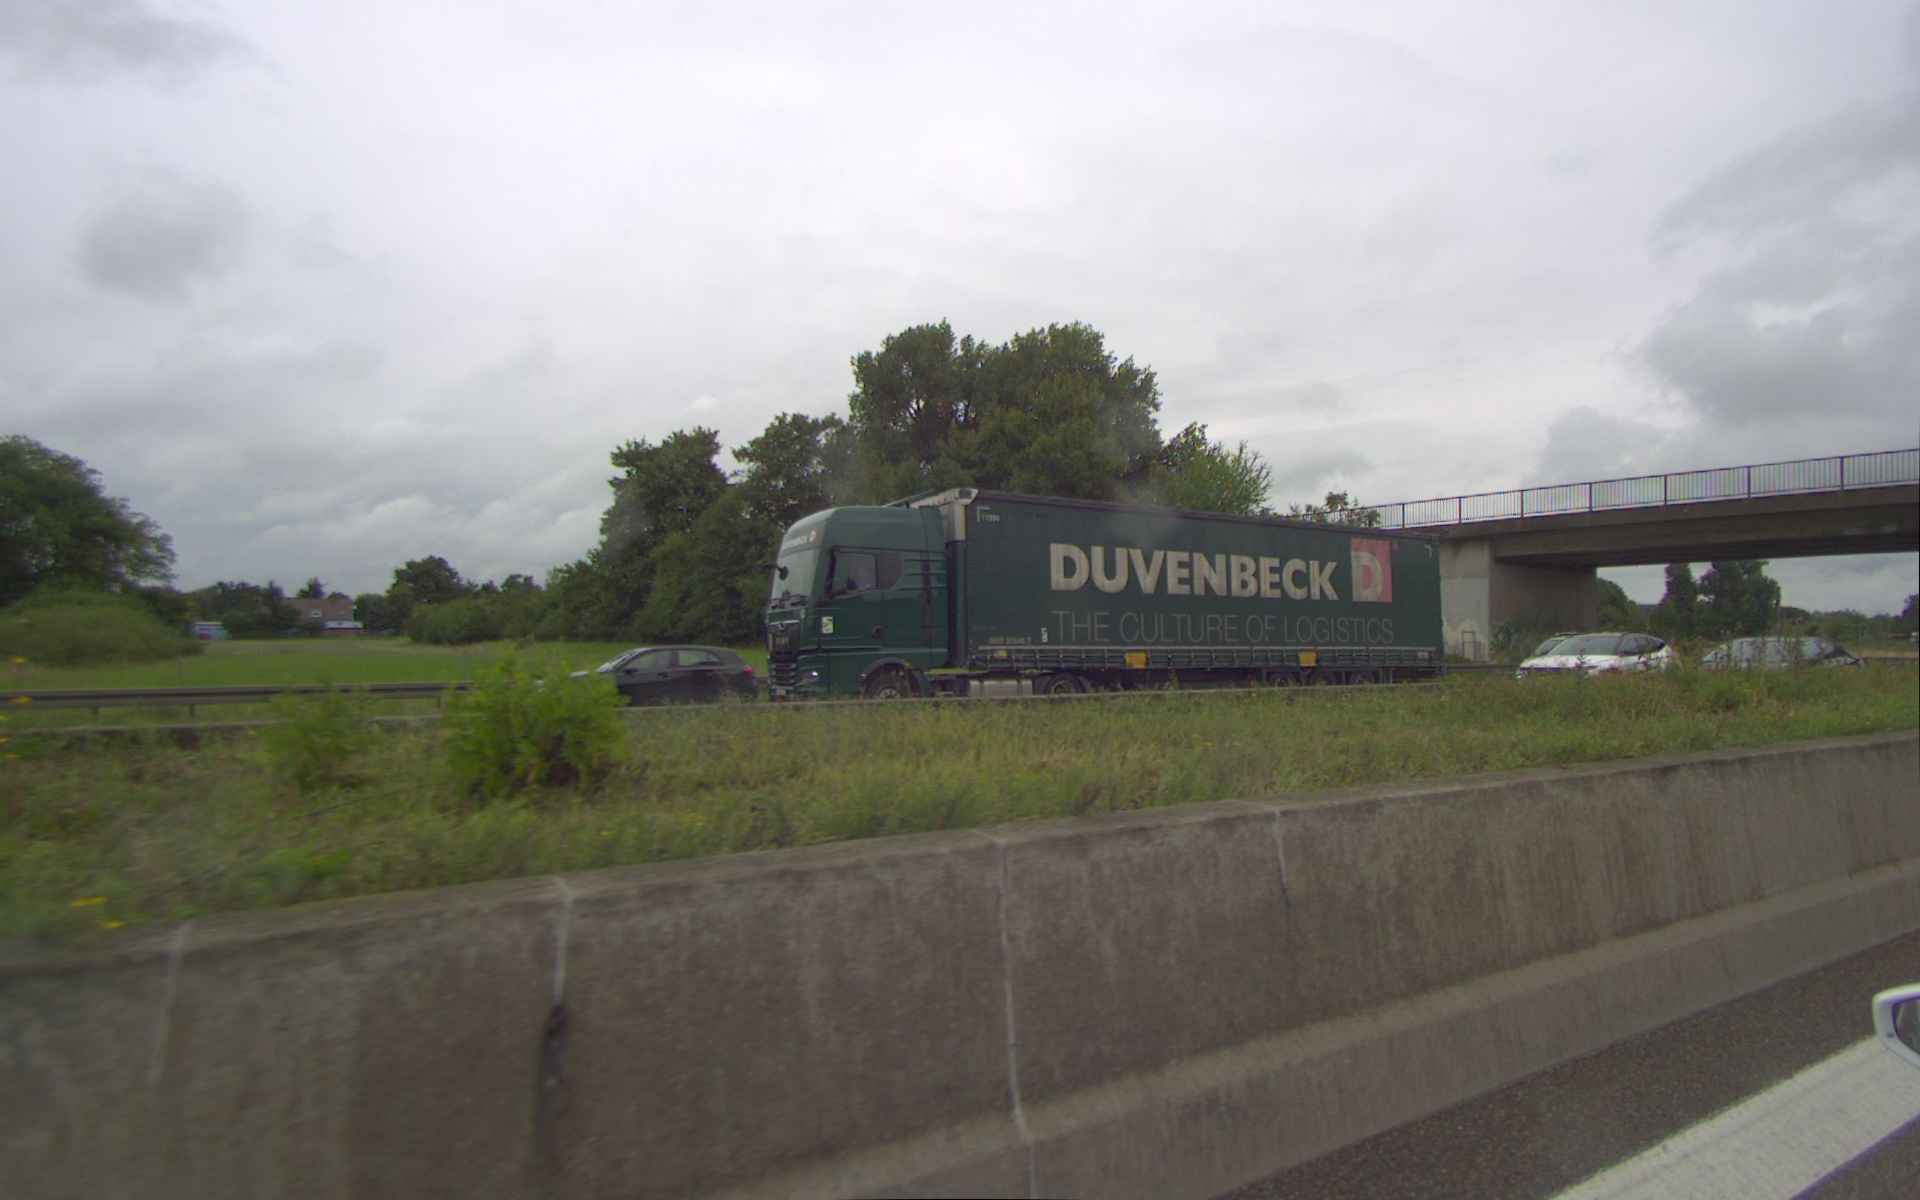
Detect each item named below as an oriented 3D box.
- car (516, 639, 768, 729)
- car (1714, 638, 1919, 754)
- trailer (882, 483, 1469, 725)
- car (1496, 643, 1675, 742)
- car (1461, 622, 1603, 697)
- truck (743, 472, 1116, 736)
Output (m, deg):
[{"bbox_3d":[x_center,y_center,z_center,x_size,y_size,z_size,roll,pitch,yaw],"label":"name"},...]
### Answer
[{"bbox_3d":[-6.089,1.542,19.416,4.365,1.573,1.703,1,-2,-32],"label":"car"},{"bbox_3d":[16.085,1.691,18.598,3.953,1.840,1.984,2,0,-30],"label":"car"},{"bbox_3d":[5.409,0.281,21.845,14.350,4.104,2.744,2,0,-31],"label":"trailer"},{"bbox_3d":[14.097,1.996,22.599,3.953,2.040,1.777,1,-2,-30],"label":"car"},{"bbox_3d":[17.269,1.773,30.327,3.953,2.040,1.984,2,0,-30],"label":"car"},{"bbox_3d":[-0.485,0.136,18.376,6.182,4.104,2.744,2,0,-30],"label":"truck"}]
